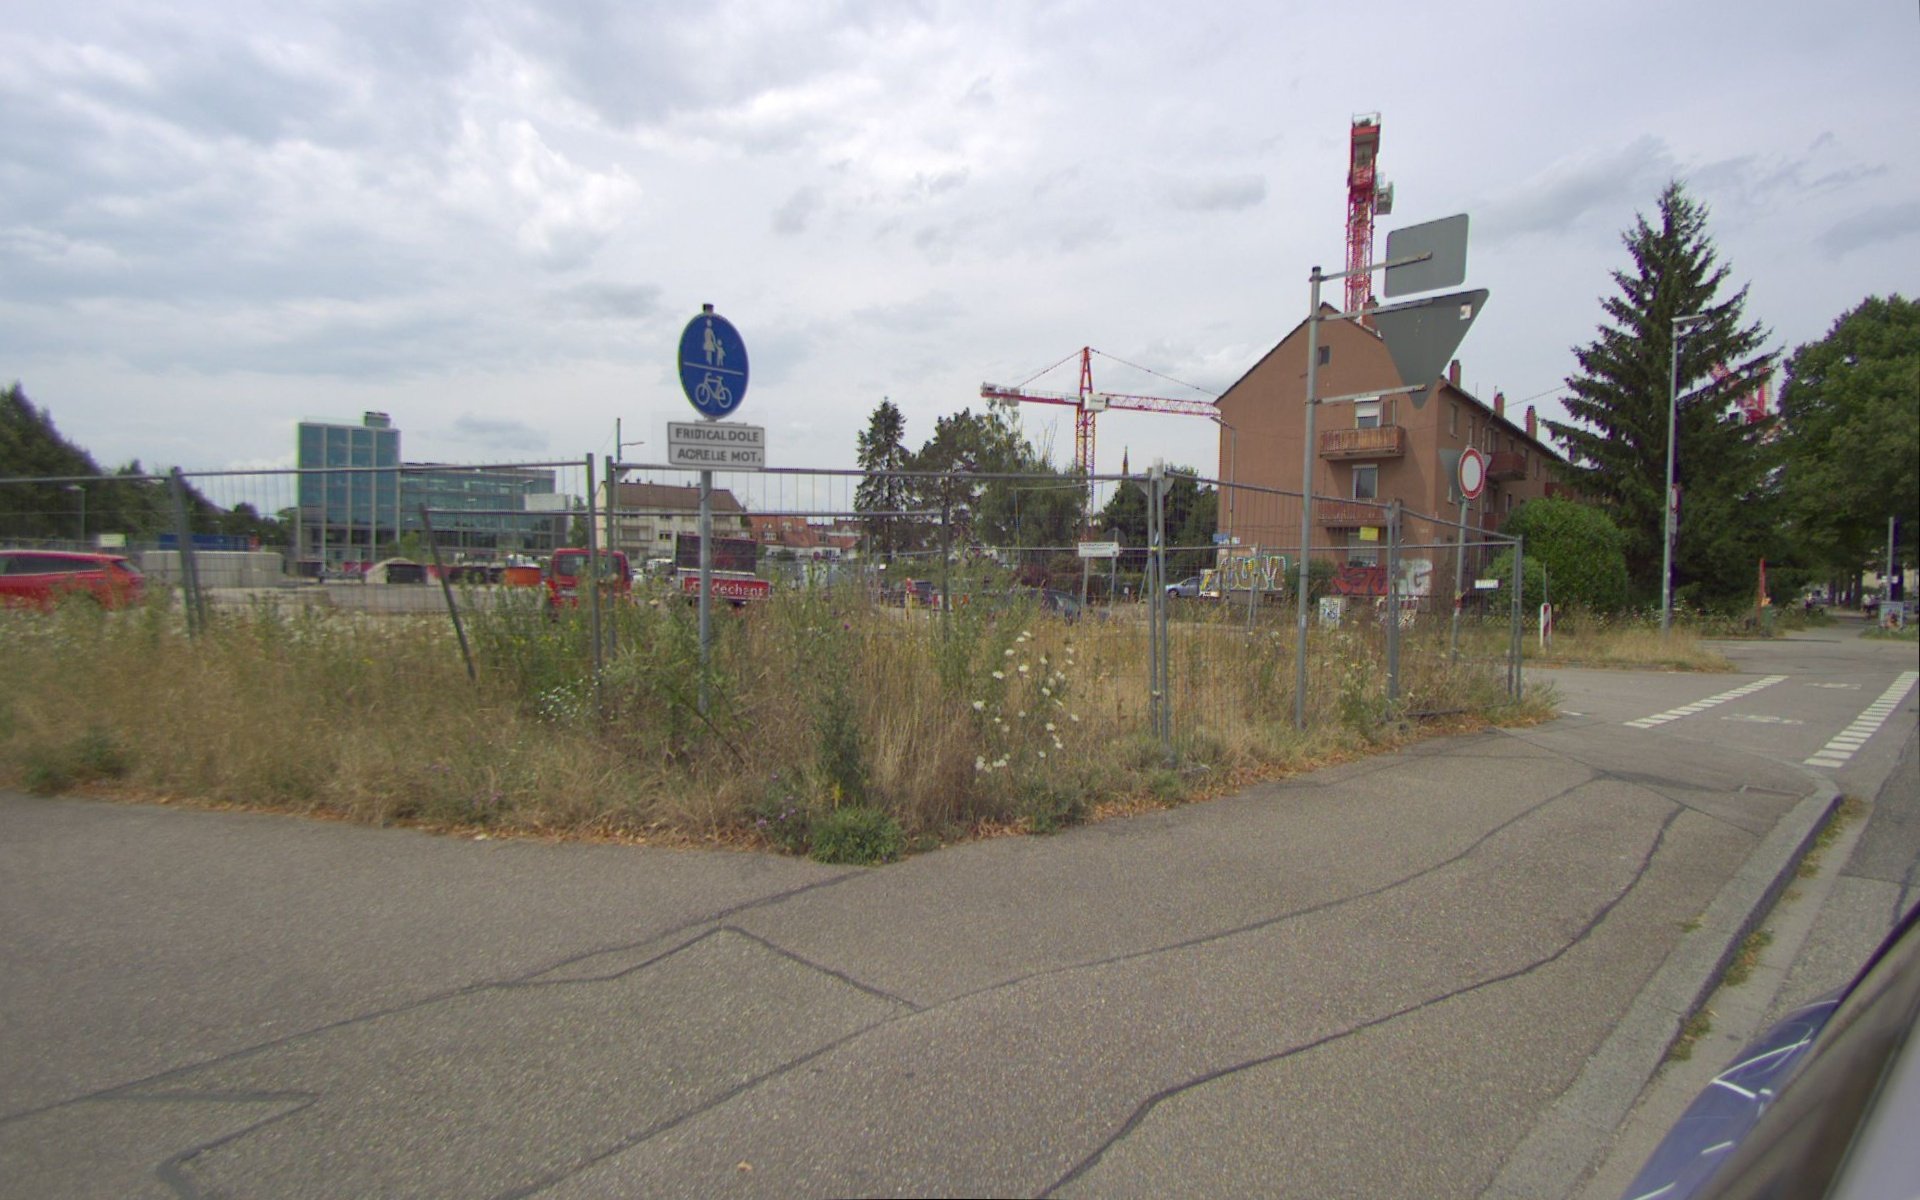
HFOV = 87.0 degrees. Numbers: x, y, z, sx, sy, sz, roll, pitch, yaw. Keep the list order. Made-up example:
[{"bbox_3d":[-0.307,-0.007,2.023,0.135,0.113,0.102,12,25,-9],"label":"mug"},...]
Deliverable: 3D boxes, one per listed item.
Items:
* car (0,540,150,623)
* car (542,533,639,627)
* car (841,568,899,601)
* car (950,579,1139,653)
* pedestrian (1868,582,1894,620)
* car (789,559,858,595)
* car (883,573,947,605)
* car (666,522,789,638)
[{"bbox_3d":[-19.590,-0.399,20.378,5.044,1.624,1.789,0,2,-37],"label":"car"},{"bbox_3d":[-8.874,-0.493,24.392,1.896,1.934,5.000,3,1,-20],"label":"car"},{"bbox_3d":[-5.182,-0.902,57.816,1.820,1.770,4.019,0,2,-30],"label":"car"},{"bbox_3d":[1.965,0.309,22.922,4.180,1.492,1.766,0,2,-37],"label":"car"},{"bbox_3d":[50.006,0.043,54.952,0.849,2.039,0.723,2,1,32],"label":"pedestrian"},{"bbox_3d":[-8.471,-1.449,62.444,2.108,2.162,4.908,0,2,-37],"label":"car"},{"bbox_3d":[-2.443,-0.609,53.505,1.766,1.622,4.019,0,2,-29],"label":"car"},{"bbox_3d":[-5.860,-0.525,24.743,2.269,2.442,6.558,1,2,-19],"label":"car"}]
